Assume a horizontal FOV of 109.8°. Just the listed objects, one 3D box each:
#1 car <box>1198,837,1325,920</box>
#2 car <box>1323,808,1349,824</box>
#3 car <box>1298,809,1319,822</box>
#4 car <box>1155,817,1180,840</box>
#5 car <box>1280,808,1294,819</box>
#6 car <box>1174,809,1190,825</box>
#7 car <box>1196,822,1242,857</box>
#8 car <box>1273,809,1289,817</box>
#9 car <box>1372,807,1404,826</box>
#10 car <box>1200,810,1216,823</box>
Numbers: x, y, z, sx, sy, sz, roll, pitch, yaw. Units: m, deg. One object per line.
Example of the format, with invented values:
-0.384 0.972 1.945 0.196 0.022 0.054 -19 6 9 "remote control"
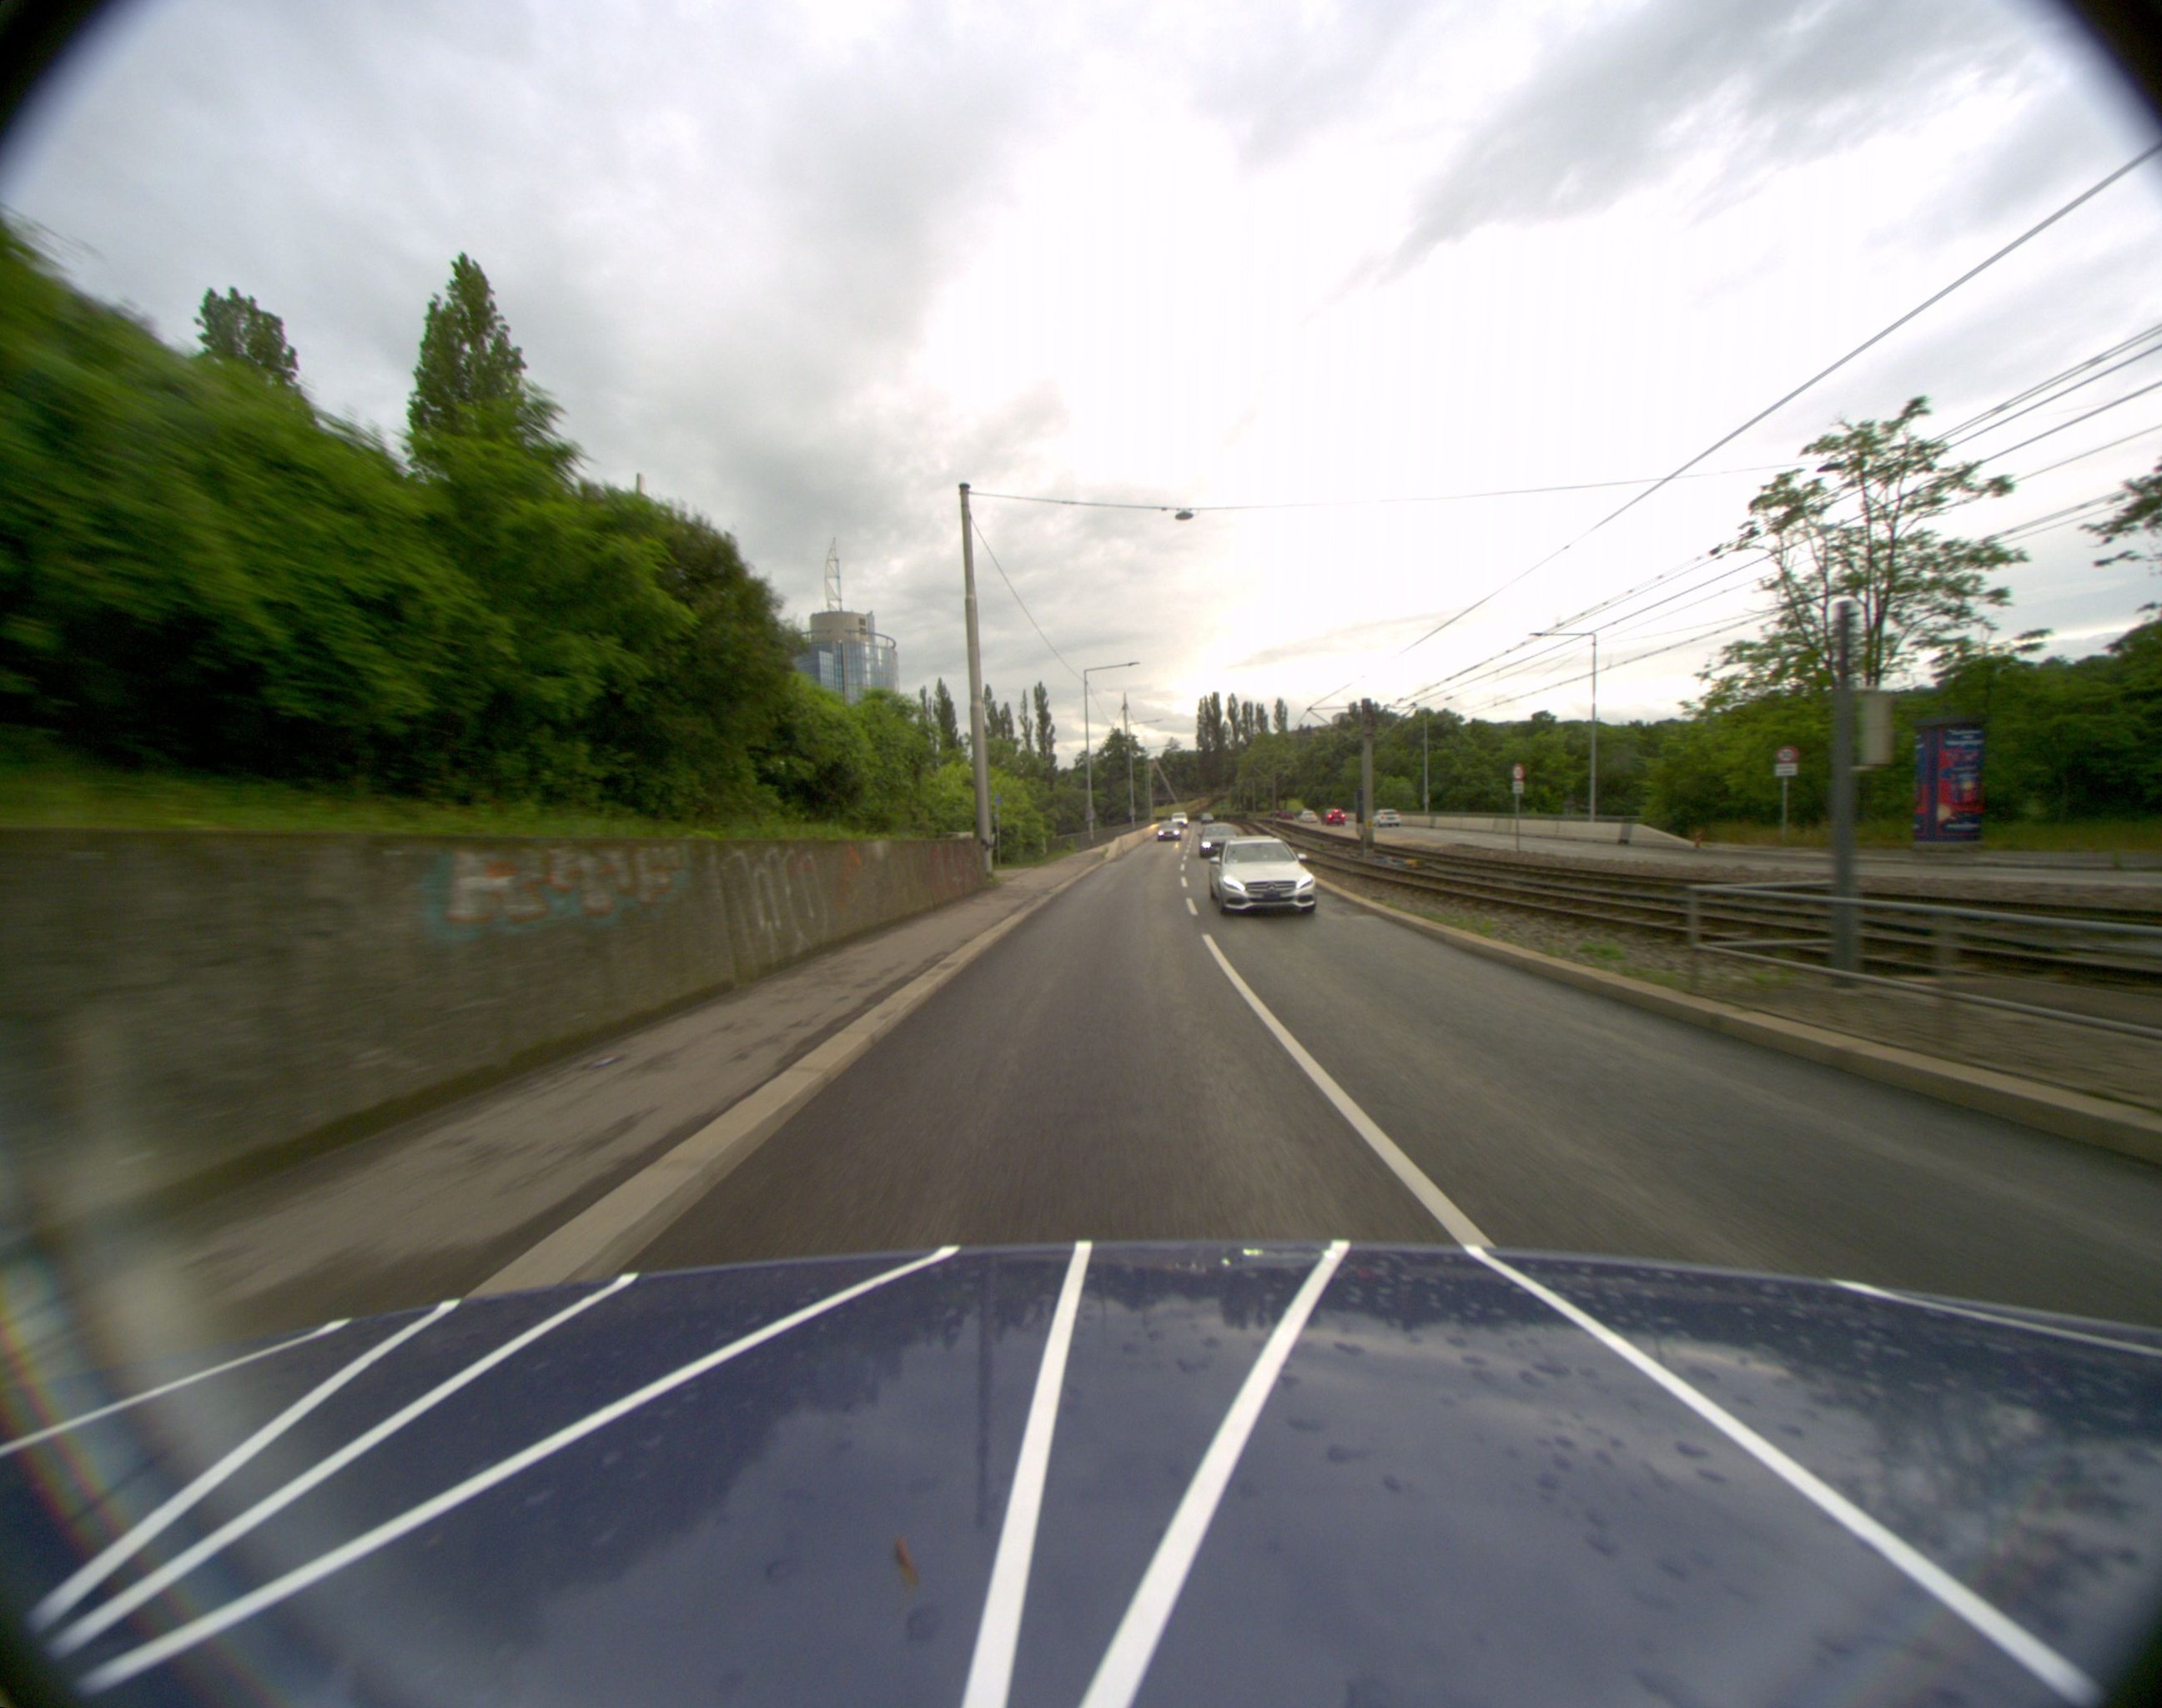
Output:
3.651 0.422 16.058 1.871 1.348 4.059 -3 2 3 "car"
25.912 -3.888 77.455 1.851 1.589 4.733 -1 3 10 "car"
27.869 -4.795 93.109 1.733 1.429 4.490 -1 4 6 "car"
6.430 -1.951 56.748 1.767 1.493 3.999 -2 4 6 "car"
30.784 -6.129 113.652 1.604 1.486 3.016 -1 5 6 "car"
12.420 -4.598 93.620 1.767 1.807 3.999 -3 4 5 "car"
6.254 -0.704 34.756 1.735 1.345 3.999 -2 4 6 "car"
35.697 -7.354 135.955 1.820 1.428 4.739 -2 3 4 "car"
27.720 -3.428 68.656 1.824 1.507 4.530 -2 4 11 "car"
18.317 -5.436 109.794 1.767 1.807 3.999 -3 2 5 "car"
